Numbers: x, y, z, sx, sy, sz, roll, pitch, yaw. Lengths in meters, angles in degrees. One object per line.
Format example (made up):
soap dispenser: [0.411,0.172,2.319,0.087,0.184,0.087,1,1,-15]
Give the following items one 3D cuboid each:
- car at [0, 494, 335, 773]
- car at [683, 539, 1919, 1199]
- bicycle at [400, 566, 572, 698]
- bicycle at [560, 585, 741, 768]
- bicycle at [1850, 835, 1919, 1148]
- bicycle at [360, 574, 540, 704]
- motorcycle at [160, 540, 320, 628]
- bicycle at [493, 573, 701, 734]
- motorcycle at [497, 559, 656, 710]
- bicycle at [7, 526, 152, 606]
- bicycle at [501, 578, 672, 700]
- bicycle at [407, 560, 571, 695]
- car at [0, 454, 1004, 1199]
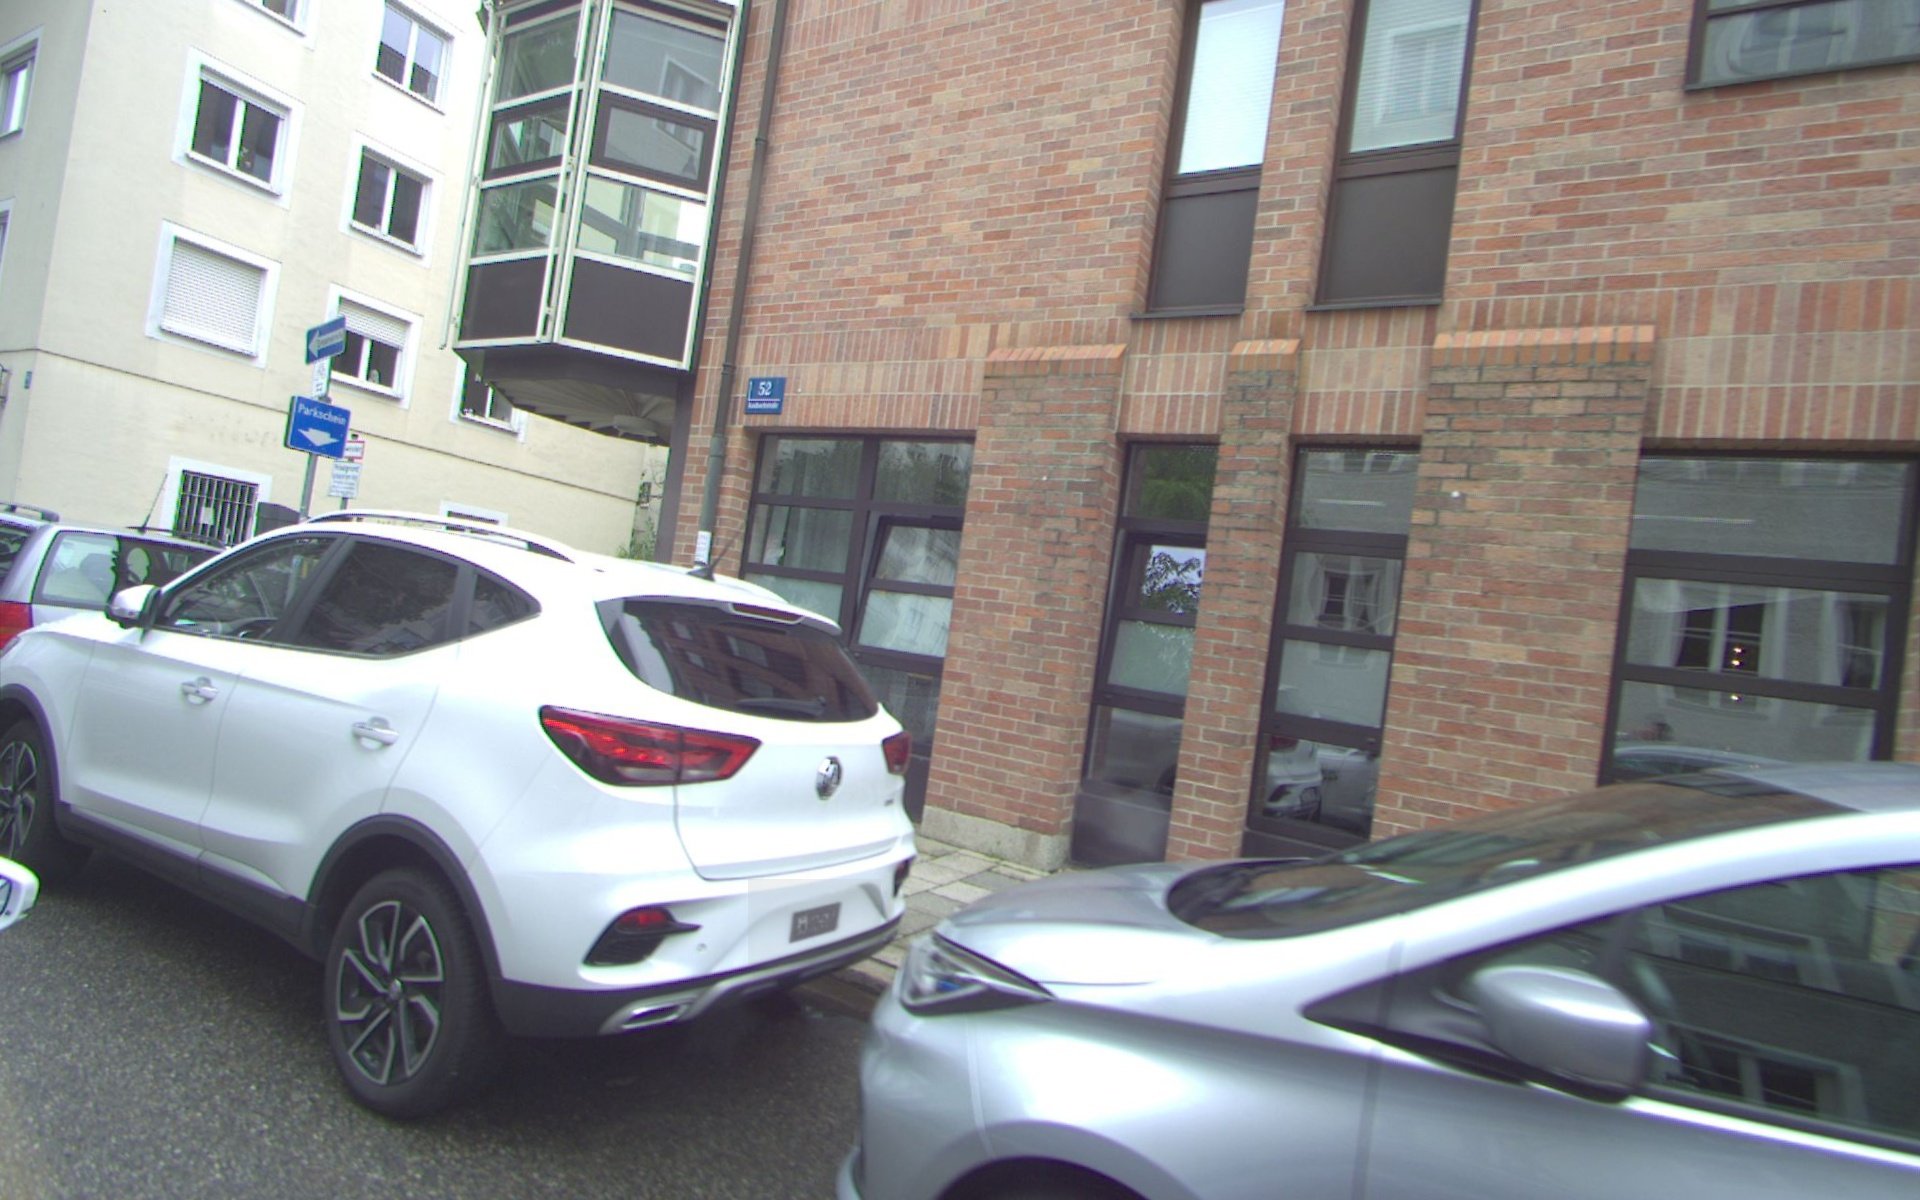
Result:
car: [-6.365,0.067,6.901,3.932,1.461,1.749,7,-3,30]
car: [1.582,0.968,1.812,3.814,1.654,1.725,6,-2,28]
bicycle: [-5.072,0.348,10.783,1.523,1.172,0.380,8,-2,3]
bicycle: [-2.577,0.600,8.305,1.527,1.291,0.379,6,-1,32]
bicycle: [4.289,1.576,3.623,1.447,1.091,0.561,7,-2,32]
bicycle: [-5.240,0.402,10.365,1.524,1.091,0.380,9,-2,3]
motorcycle: [-11.685,-0.246,16.387,1.897,1.120,0.622,9,-2,-11]
bicycle: [-3.312,0.512,9.251,1.628,1.291,0.376,8,-1,-32]
motorcycle: [-3.969,0.384,10.533,0.465,1.437,1.474,7,0,28]
bicycle: [-13.471,-0.502,15.436,0.468,1.038,1.538,7,0,29]
bicycle: [-4.544,0.479,12.260,1.794,1.204,0.506,8,-2,10]
bicycle: [-5.327,0.316,11.402,1.523,1.290,0.380,8,-2,3]
car: [-2.138,0.491,4.036,4.125,1.649,1.753,7,-2,29]
